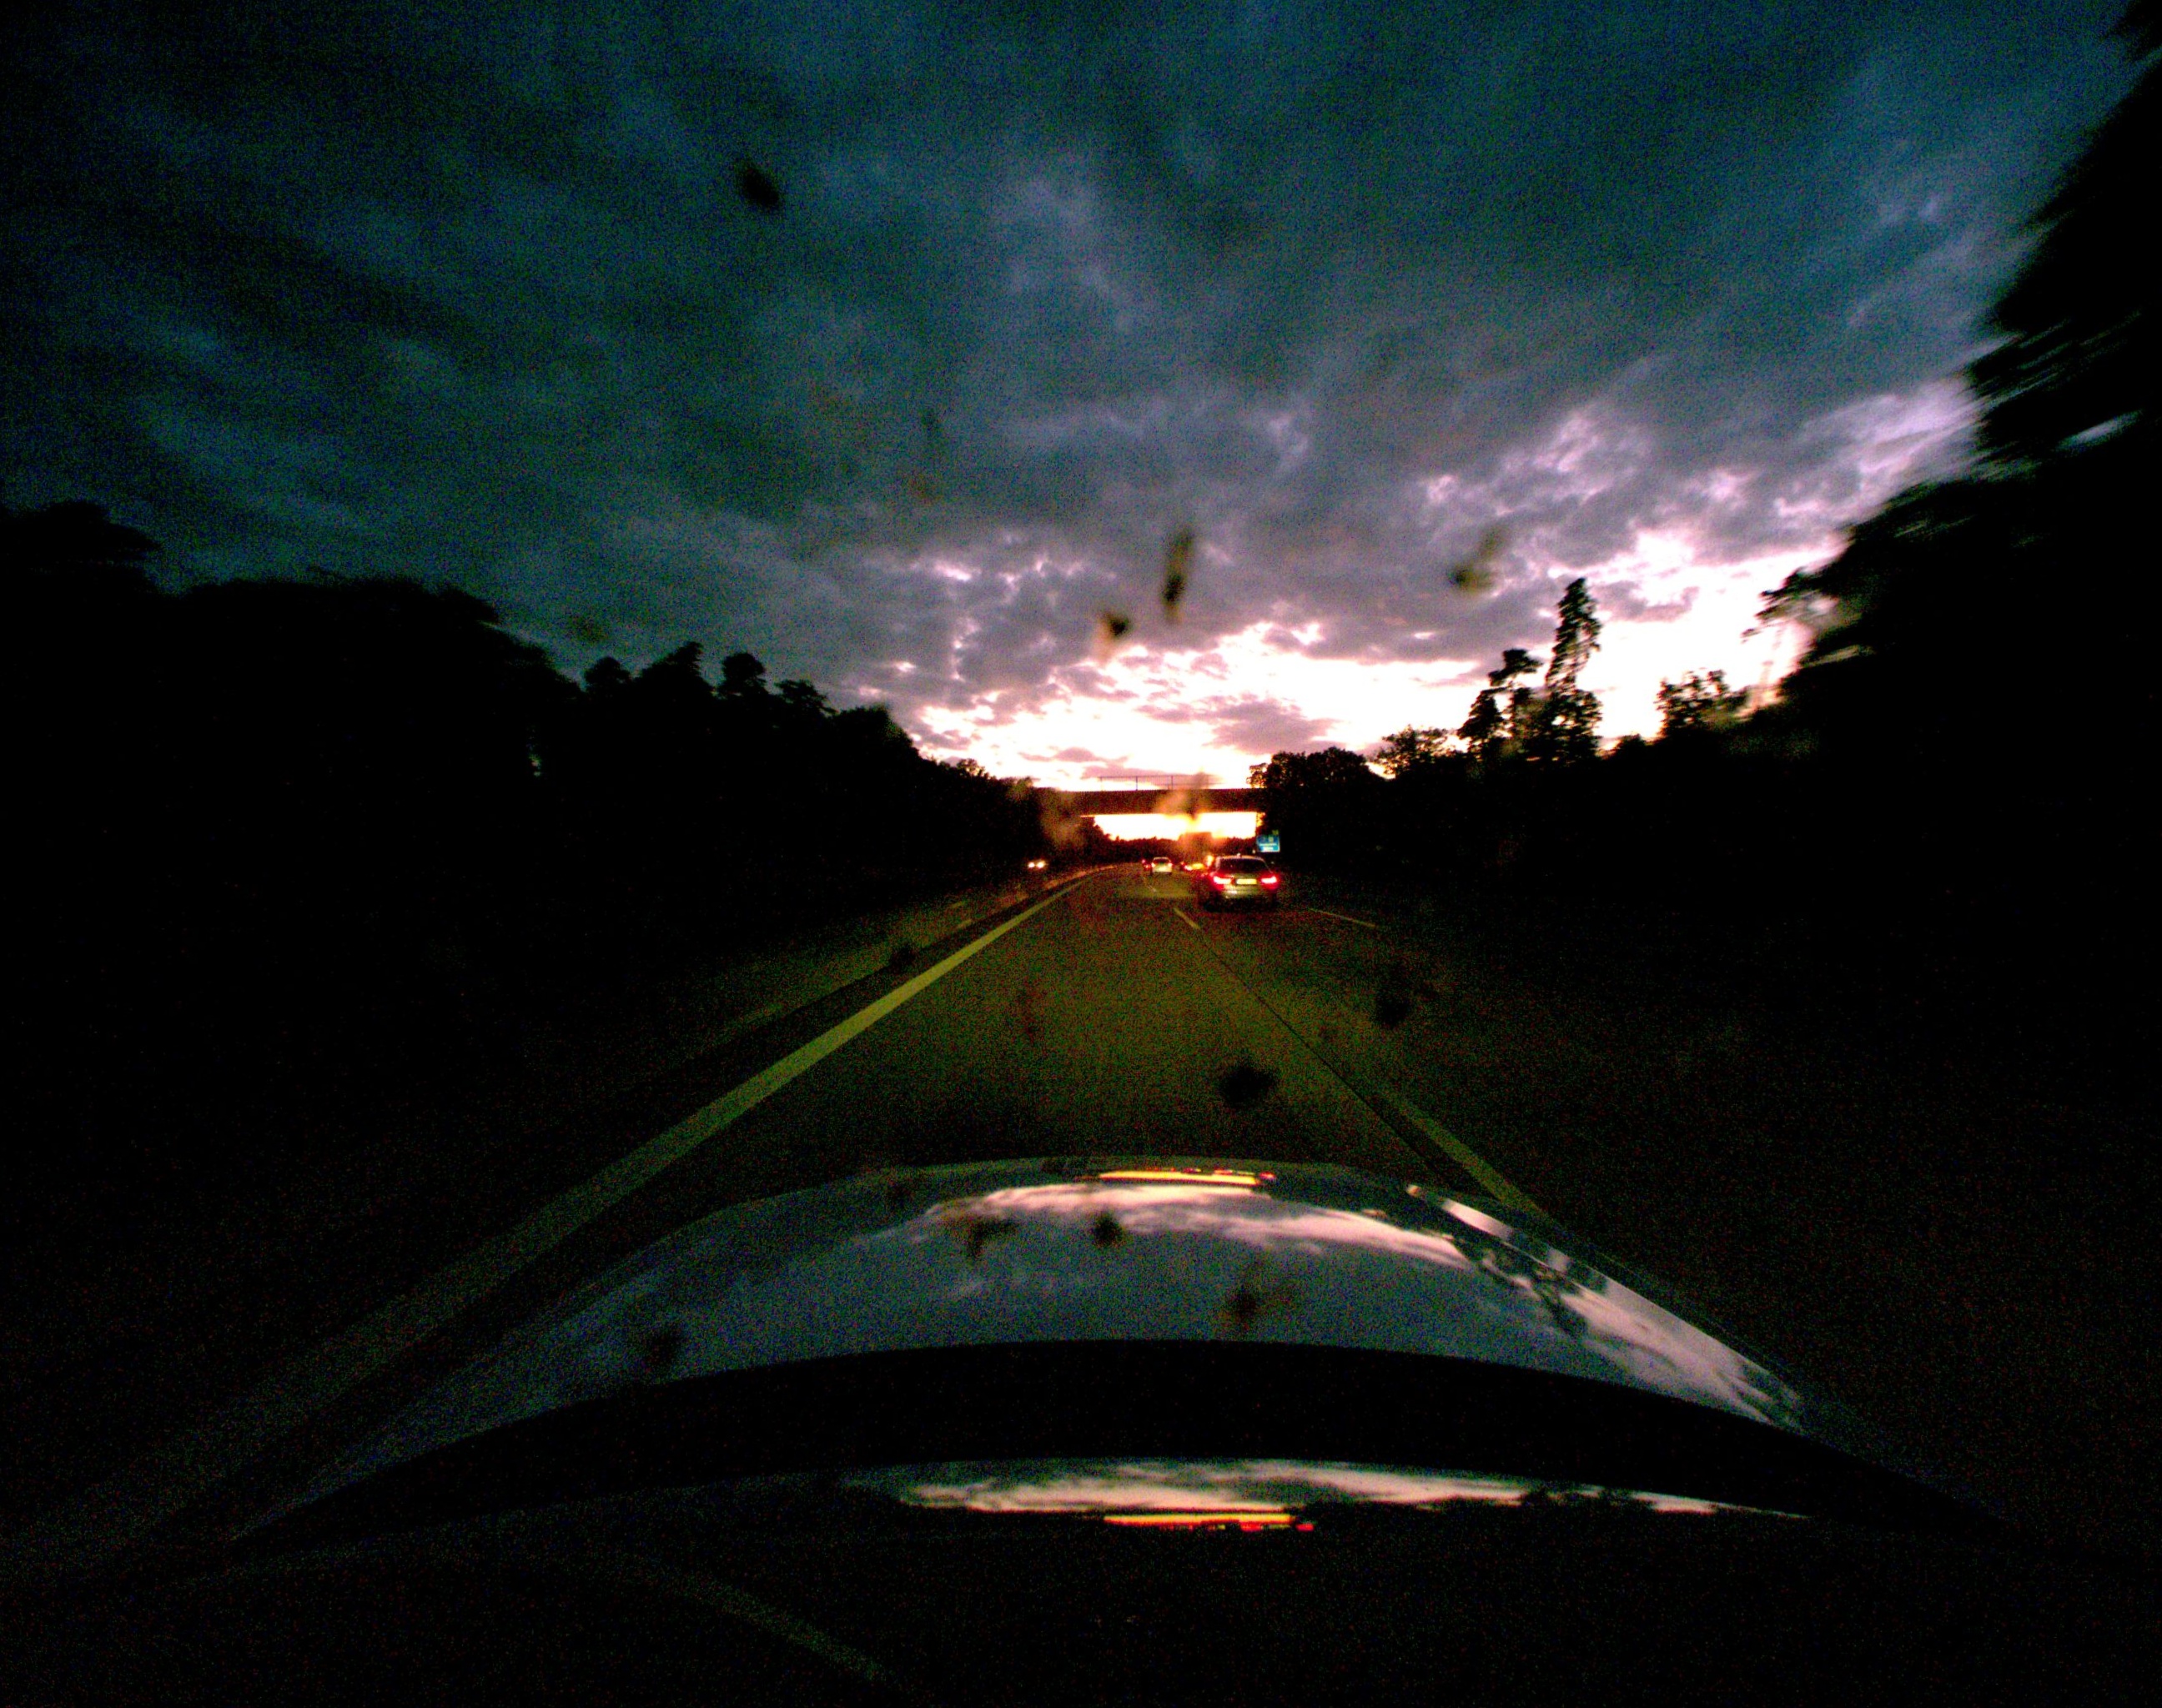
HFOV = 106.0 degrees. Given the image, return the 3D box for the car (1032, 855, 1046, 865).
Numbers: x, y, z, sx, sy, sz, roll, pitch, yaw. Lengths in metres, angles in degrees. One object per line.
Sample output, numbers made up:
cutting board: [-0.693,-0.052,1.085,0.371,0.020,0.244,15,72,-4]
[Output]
car: [-6.775,0.982,132.919,1.803,1.520,4.434,-1,1,3]

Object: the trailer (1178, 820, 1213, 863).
trailer: [11.795,-1.187,84.615,2.894,4.101,10.368,-1,-1,4]

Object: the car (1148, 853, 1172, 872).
car: [6.519,0.703,67.233,1.851,1.442,3.724,-1,1,4]

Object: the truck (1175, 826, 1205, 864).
truck: [12.614,-0.939,95.183,2.872,4.101,10.843,-1,-1,4]

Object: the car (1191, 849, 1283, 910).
car: [4.435,0.650,23.900,1.901,1.537,5.235,-1,1,3]

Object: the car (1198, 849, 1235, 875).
car: [8.976,0.534,54.208,1.895,1.643,5.056,-1,-1,3]

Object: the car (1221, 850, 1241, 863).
car: [16.996,0.281,92.202,1.850,1.442,4.117,-1,-1,5]

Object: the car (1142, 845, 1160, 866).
car: [8.826,0.214,102.188,2.155,2.419,5.573,-1,-1,6]
